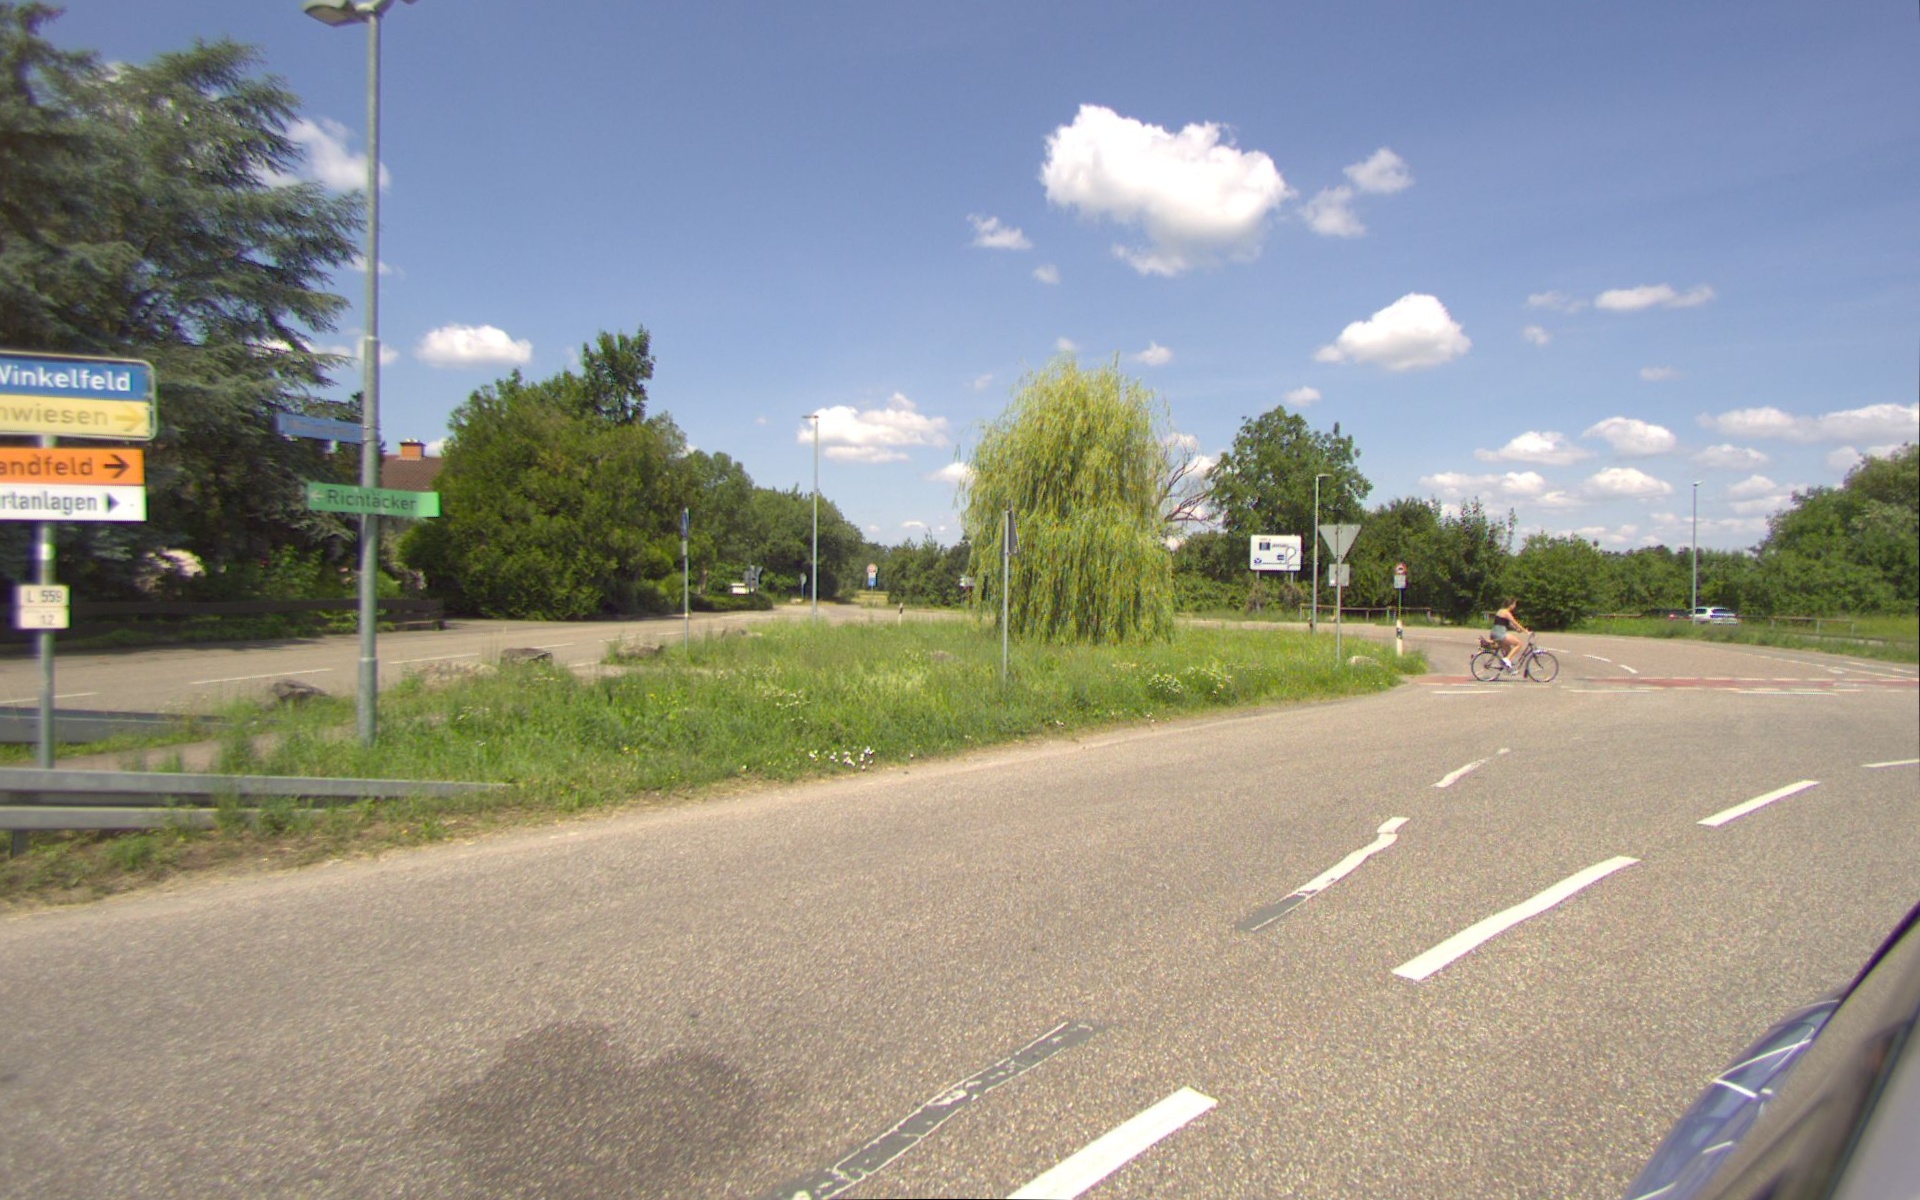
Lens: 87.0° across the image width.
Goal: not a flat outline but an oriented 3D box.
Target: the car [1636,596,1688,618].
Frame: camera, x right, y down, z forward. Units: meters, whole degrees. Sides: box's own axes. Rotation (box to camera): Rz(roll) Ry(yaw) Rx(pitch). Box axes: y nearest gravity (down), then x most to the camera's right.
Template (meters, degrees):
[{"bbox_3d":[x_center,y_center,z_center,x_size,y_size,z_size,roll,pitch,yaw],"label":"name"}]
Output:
[{"bbox_3d":[44.666,0.455,64.449,1.394,1.355,3.112,0,-1,6],"label":"car"}]

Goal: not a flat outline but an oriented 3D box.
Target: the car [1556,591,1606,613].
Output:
[{"bbox_3d":[40.014,0.139,65.236,1.392,1.355,3.115,0,-1,3],"label":"car"}]

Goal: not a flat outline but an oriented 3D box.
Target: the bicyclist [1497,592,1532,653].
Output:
[{"bbox_3d":[11.672,0.460,21.325,0.503,1.271,0.468,0,-1,10],"label":"bicyclist"}]

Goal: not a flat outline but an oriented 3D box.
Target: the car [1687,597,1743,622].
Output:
[{"bbox_3d":[48.077,0.618,64.514,1.394,1.524,3.113,0,-1,6],"label":"car"}]

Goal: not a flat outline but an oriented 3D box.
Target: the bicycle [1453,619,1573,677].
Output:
[{"bbox_3d":[11.656,0.995,21.372,2.110,1.179,0.660,0,0,8],"label":"bicycle"}]
